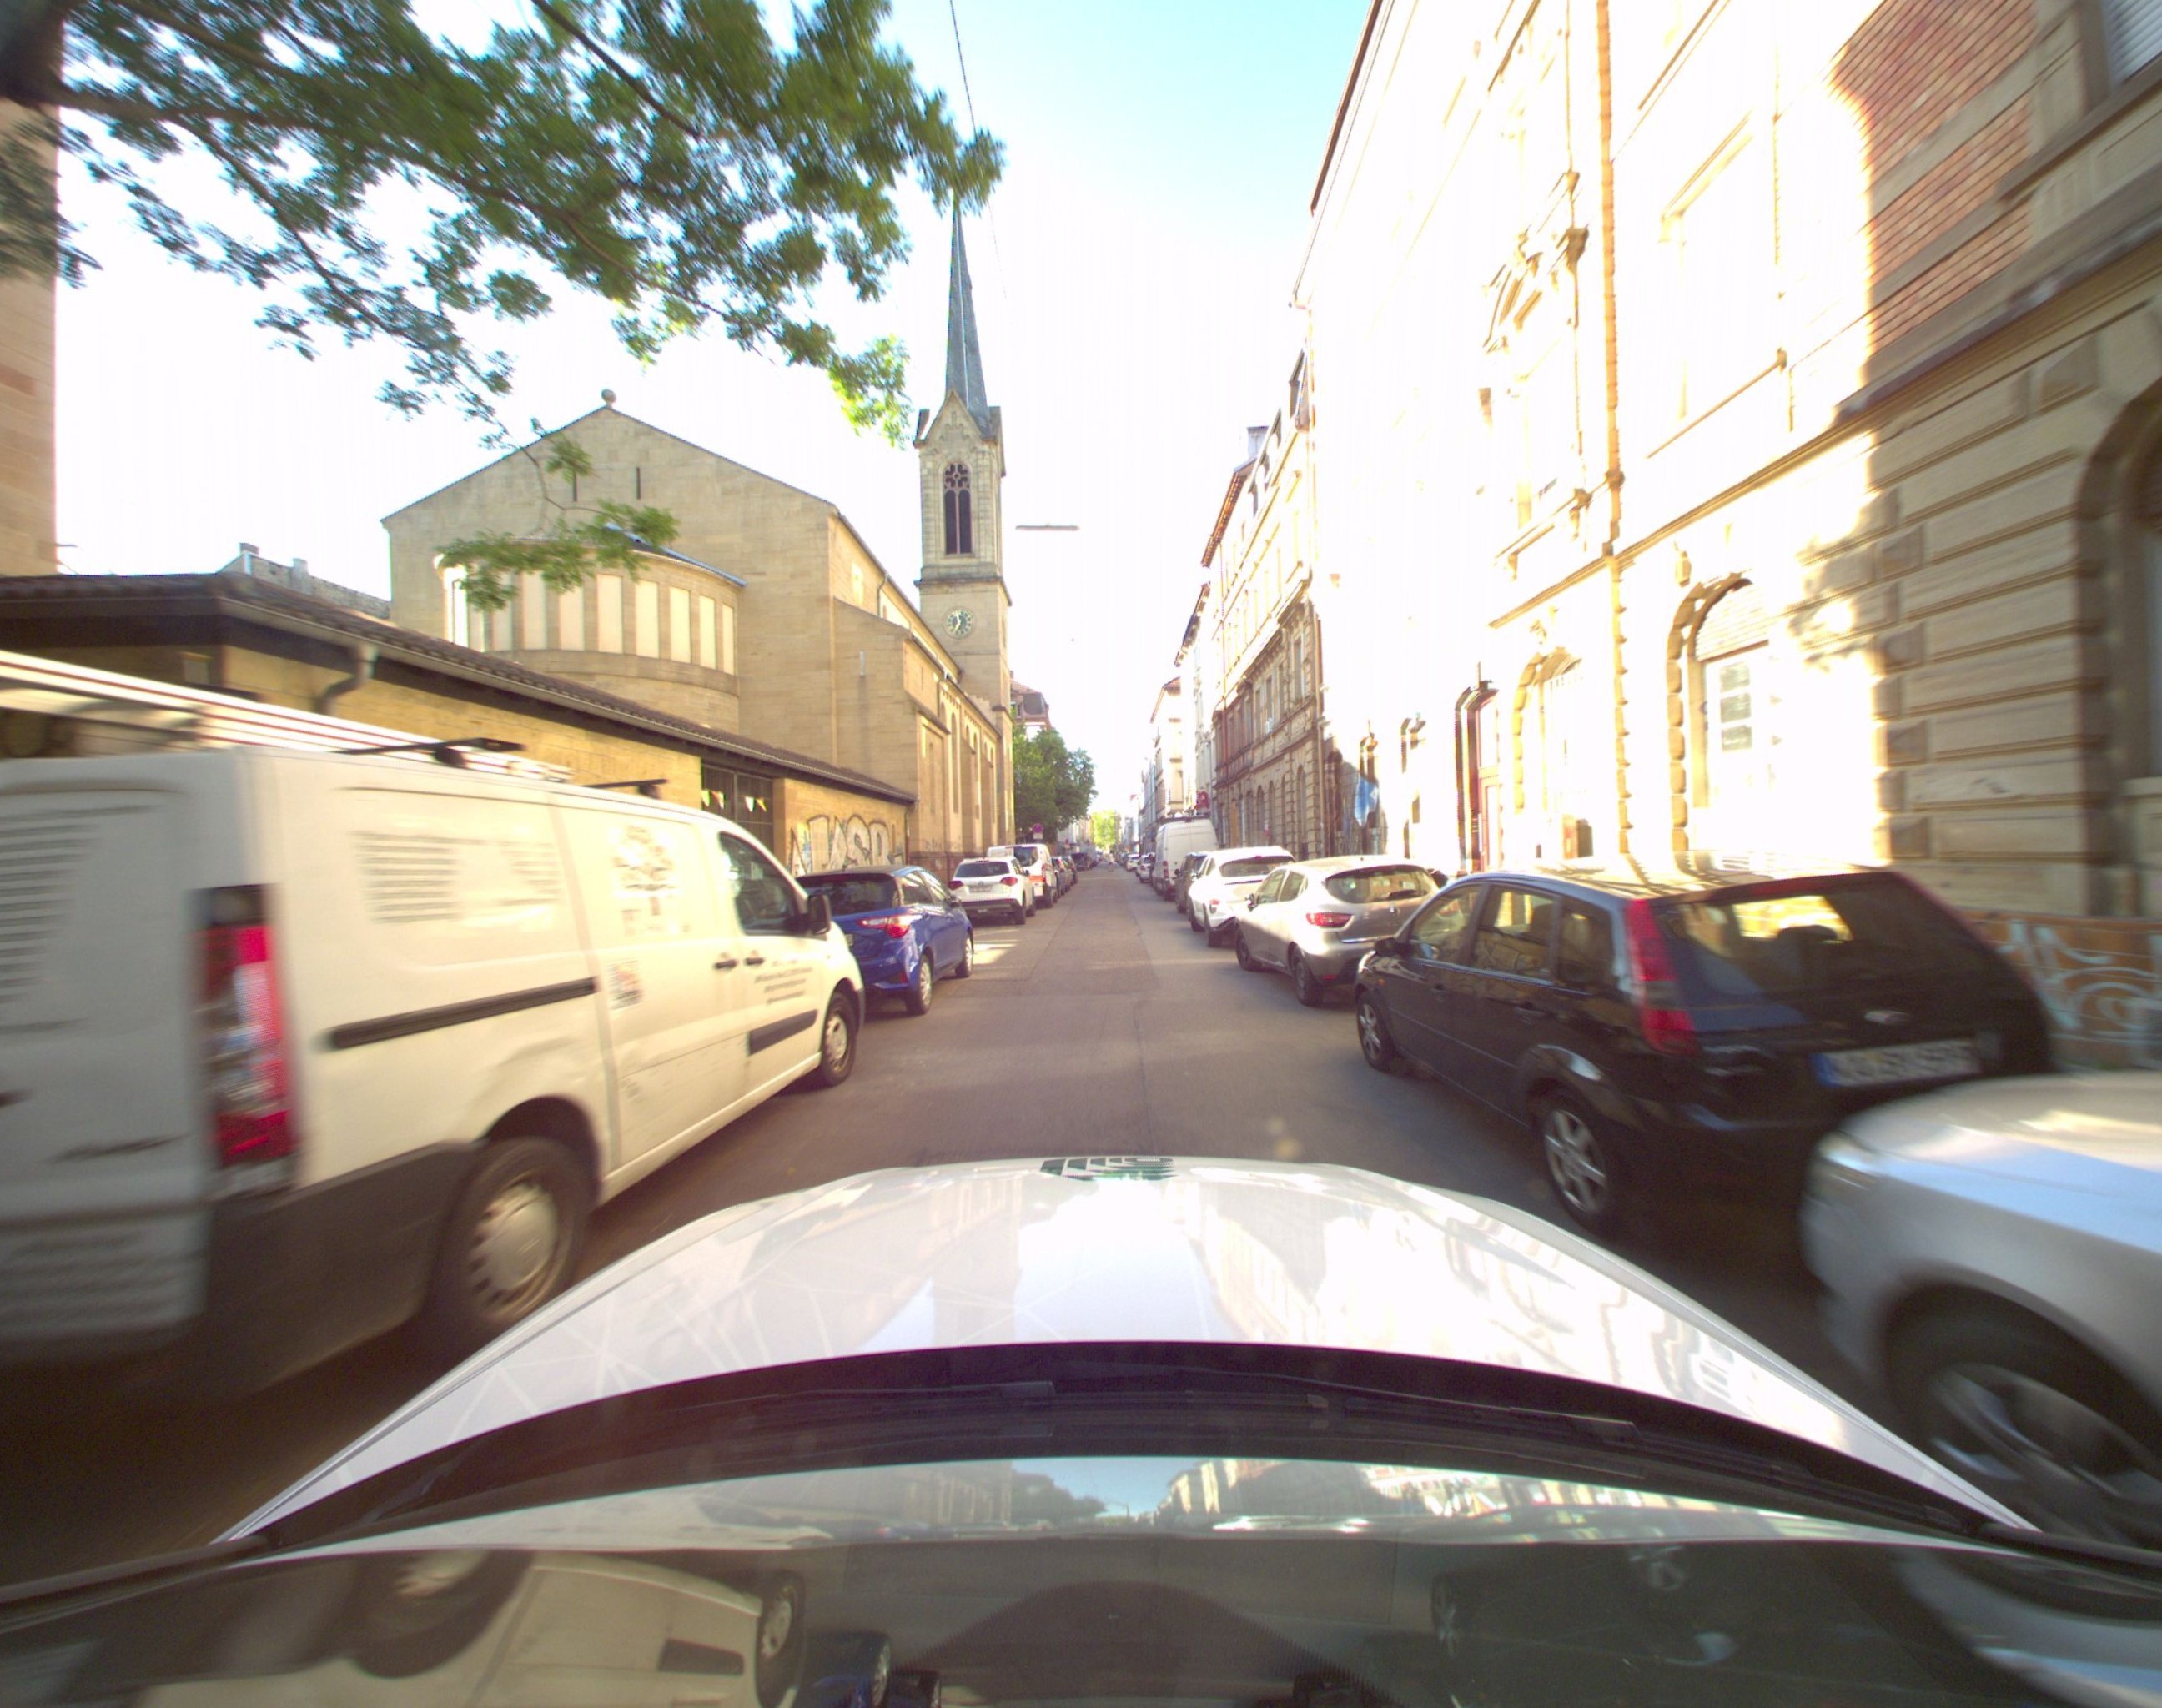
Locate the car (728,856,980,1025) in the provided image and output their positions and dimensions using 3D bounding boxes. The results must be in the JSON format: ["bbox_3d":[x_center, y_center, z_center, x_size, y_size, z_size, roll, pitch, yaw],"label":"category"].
[{"bbox_3d":[-2.338,0.807,9.445,1.681,1.477,3.861,-2,0,1],"label":"car"}]

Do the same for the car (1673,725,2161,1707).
[{"bbox_3d":[2.658,0.625,0.513,1.698,1.714,3.937,-1,0,0],"label":"car"}]

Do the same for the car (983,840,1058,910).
[{"bbox_3d":[-1.813,0.615,25.801,1.857,1.957,4.611,-2,0,1],"label":"car"}]

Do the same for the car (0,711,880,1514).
[{"bbox_3d":[-2.614,0.598,4.153,1.838,1.862,4.468,-1,0,3],"label":"car"}]

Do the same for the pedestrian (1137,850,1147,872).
[{"bbox_3d":[5.142,0.579,68.902,0.681,1.843,0.692,0,0,-10],"label":"pedestrian"}]

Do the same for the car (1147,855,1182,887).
[{"bbox_3d":[4.123,0.810,40.676,1.563,1.495,3.656,1,0,3],"label":"car"}]

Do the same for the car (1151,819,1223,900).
[{"bbox_3d":[3.710,0.174,29.449,2.060,2.611,5.891,0,0,2],"label":"car"}]

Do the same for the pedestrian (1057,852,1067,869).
[{"bbox_3d":[-1.877,0.615,79.695,0.925,1.637,0.807,0,0,3],"label":"pedestrian"}]

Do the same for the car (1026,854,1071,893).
[{"bbox_3d":[-1.381,0.823,35.916,1.667,1.558,4.001,-1,0,1],"label":"car"}]

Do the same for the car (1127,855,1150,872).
[{"bbox_3d":[5.193,0.838,73.832,1.890,1.488,3.871,0,0,2],"label":"car"}]

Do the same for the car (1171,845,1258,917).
[{"bbox_3d":[3.253,0.623,20.501,1.681,1.642,3.926,0,0,2],"label":"car"}]

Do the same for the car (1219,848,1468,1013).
[{"bbox_3d":[2.841,0.736,9.718,1.568,1.525,3.905,2,0,-2],"label":"car"}]

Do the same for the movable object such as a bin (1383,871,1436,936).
[{"bbox_3d":[5.682,0.848,14.094,0.551,1.052,0.597,-3,0,-31],"label":"movable object such as a bin"}]

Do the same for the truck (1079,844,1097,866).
[{"bbox_3d":[1.112,0.101,124.418,2.522,3.282,6.998,0,0,2],"label":"truck"}]

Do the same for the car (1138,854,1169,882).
[{"bbox_3d":[3.997,0.756,45.444,1.597,1.505,4.003,1,0,3],"label":"car"}]

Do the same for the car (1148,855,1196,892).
[{"bbox_3d":[3.927,0.811,35.747,1.773,1.486,4.362,1,0,2],"label":"car"}]

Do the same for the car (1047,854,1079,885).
[{"bbox_3d":[-1.019,0.865,46.909,1.594,1.614,3.809,-3,0,1],"label":"car"}]

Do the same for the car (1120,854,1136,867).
[{"bbox_3d":[6.224,0.892,107.740,1.986,1.632,4.002,2,0,2],"label":"car"}]

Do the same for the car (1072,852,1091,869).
[{"bbox_3d":[0.091,0.694,86.083,1.868,1.796,4.002,0,0,2],"label":"car"}]

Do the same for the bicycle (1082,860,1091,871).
[{"bbox_3d":[0.491,1.042,74.634,0.736,1.043,1.860,0,0,2],"label":"bicycle"}]

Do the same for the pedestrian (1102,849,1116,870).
[{"bbox_3d":[2.568,0.515,73.888,1.014,1.843,0.778,0,0,-30],"label":"pedestrian"}]

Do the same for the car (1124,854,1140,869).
[{"bbox_3d":[5.886,0.844,94.427,1.762,1.741,4.002,0,0,2],"label":"car"}]

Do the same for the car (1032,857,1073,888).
[{"bbox_3d":[-1.382,0.903,41.220,1.563,1.398,3.813,-4,0,4],"label":"car"}]

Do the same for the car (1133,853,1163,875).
[{"bbox_3d":[4.555,0.677,55.953,1.711,1.488,3.868,0,0,-1],"label":"car"}]

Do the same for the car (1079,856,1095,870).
[{"bbox_3d":[0.804,1.180,107.937,1.868,1.796,4.002,0,0,2],"label":"car"}]

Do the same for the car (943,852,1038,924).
[{"bbox_3d":[-2.109,0.764,19.977,1.735,1.586,3.871,0,0,2],"label":"car"}]

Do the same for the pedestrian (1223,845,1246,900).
[{"bbox_3d":[5.106,0.609,27.059,0.635,1.772,0.681,1,-1,16],"label":"pedestrian"}]

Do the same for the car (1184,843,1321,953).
[{"bbox_3d":[2.976,0.717,14.981,1.800,1.690,4.217,1,-1,3],"label":"car"}]

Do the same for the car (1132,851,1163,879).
[{"bbox_3d":[4.124,0.654,50.929,1.710,1.645,4.002,0,0,2],"label":"car"}]

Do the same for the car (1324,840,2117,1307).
[{"bbox_3d":[2.676,0.727,4.548,1.530,1.513,3.681,-1,0,0],"label":"car"}]

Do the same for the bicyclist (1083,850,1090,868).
[{"bbox_3d":[0.517,0.475,74.594,0.603,1.688,0.885,0,0,2],"label":"bicyclist"}]

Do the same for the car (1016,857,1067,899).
[{"bbox_3d":[-1.470,0.883,31.707,1.609,1.452,3.952,-2,0,2],"label":"car"}]

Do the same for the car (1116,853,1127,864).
[{"bbox_3d":[7.514,0.792,150.693,1.986,2.013,4.002,0,0,2],"label":"car"}]

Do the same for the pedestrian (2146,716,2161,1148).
[{"bbox_3d":[4.292,0.287,2.683,0.589,1.604,0.727,-2,0,0],"label":"pedestrian"}]
